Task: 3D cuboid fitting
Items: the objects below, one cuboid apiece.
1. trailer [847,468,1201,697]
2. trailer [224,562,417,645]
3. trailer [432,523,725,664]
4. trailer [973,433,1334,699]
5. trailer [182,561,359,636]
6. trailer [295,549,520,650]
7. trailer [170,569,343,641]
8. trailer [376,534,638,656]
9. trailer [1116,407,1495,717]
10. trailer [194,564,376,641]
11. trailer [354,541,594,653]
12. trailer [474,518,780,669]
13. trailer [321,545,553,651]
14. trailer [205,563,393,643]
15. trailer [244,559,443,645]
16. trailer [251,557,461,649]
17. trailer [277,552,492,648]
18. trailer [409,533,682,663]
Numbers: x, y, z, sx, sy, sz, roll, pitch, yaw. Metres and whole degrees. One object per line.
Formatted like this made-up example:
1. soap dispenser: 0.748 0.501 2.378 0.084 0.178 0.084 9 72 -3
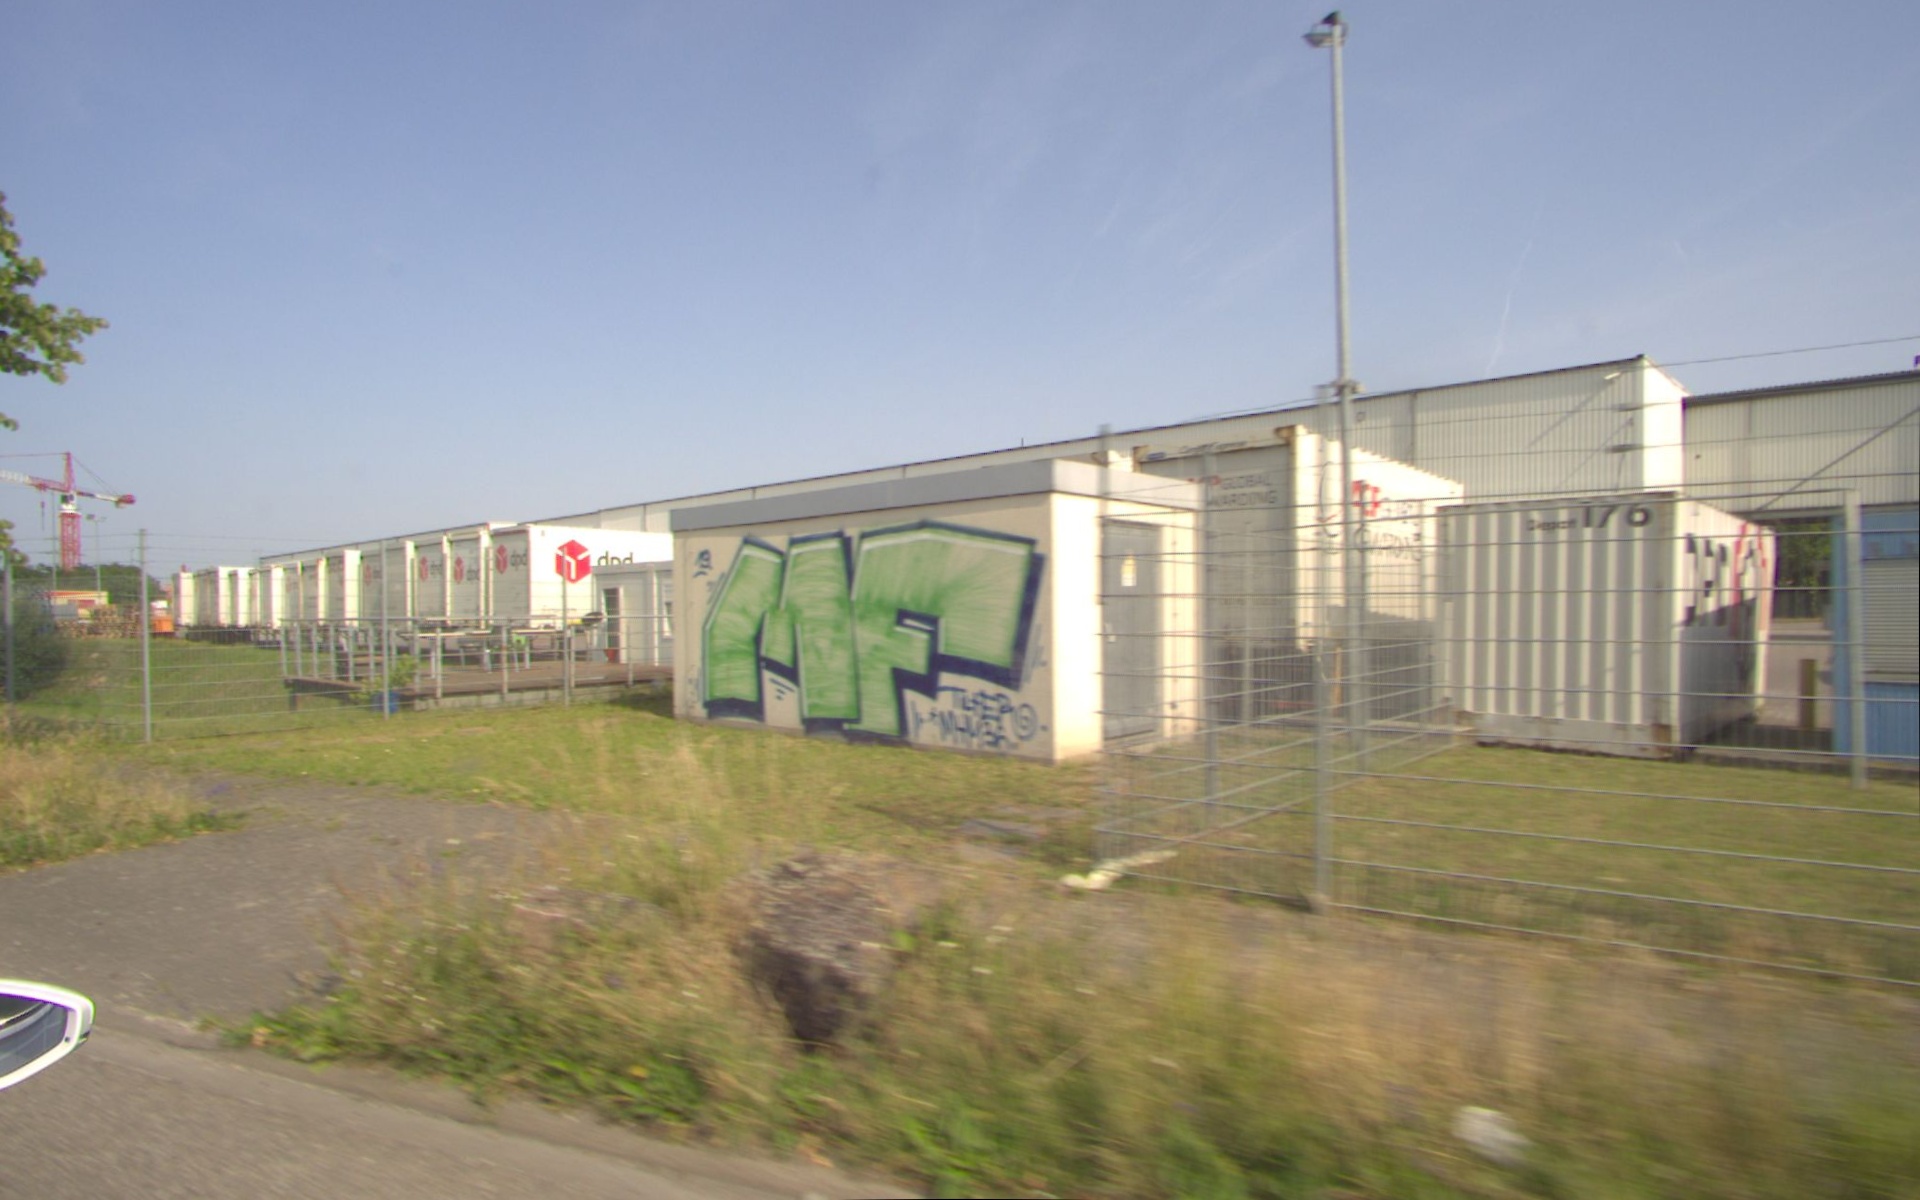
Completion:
1. trailer: 1.760 -0.189 20.900 2.758 3.809 8.692 -1 -1 41
2. trailer: -32.941 0.286 51.913 2.743 3.943 7.930 1 -2 40
3. trailer: -11.928 -0.015 32.222 2.743 3.943 8.500 1 -2 40
4. trailer: 4.078 -0.511 18.975 2.745 3.945 8.490 0 0 42
5. trailer: -39.622 0.033 57.825 2.710 3.943 7.930 1 -2 40
6. trailer: -23.514 0.118 43.051 2.743 3.943 7.930 1 -2 40
7. trailer: -41.819 0.376 59.778 2.710 3.943 7.930 1 -2 40
8. trailer: -16.199 0.001 36.456 2.743 3.943 8.273 1 -2 40
9. trailer: 6.196 -0.380 16.801 2.747 3.943 8.490 -3 -3 43
10. trailer: -37.478 0.252 55.867 2.743 3.943 7.930 1 -2 40
11. trailer: -18.861 0.039 39.365 2.743 3.943 8.000 1 -2 40
12. trailer: -9.659 -0.001 30.152 2.743 3.943 8.500 1 -2 40
13. trailer: -21.224 0.074 41.138 2.743 3.943 7.930 1 -2 40
14. trailer: -35.283 0.264 53.780 2.743 3.943 7.930 1 -2 40
15. trailer: -30.588 0.219 50.003 2.743 3.943 7.930 1 -2 40
16. trailer: -28.174 0.259 47.105 2.743 3.943 7.930 1 -2 40
17. trailer: -25.790 0.150 45.274 2.743 3.943 7.930 1 -2 40
18. trailer: -13.944 0.101 34.436 2.743 3.943 8.273 1 -2 40
